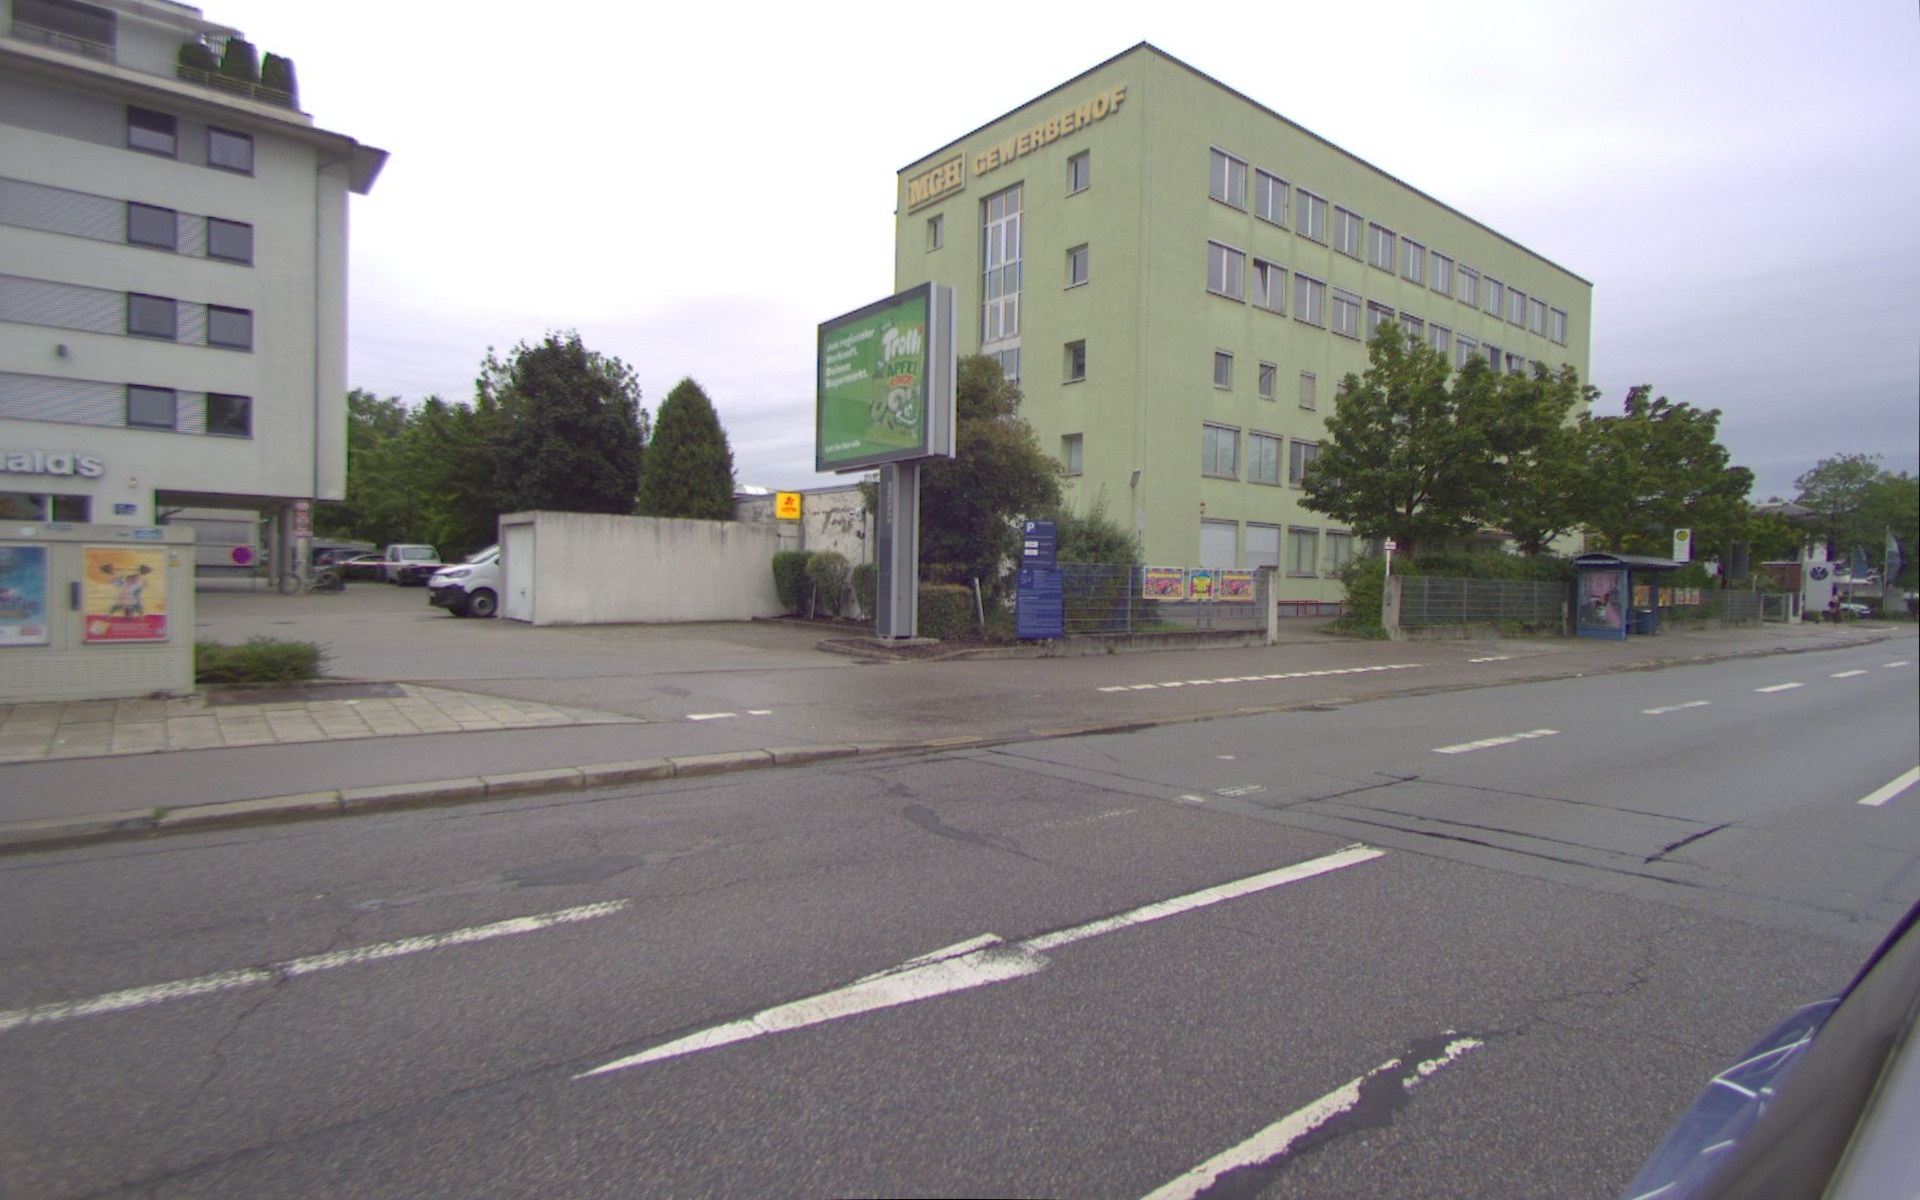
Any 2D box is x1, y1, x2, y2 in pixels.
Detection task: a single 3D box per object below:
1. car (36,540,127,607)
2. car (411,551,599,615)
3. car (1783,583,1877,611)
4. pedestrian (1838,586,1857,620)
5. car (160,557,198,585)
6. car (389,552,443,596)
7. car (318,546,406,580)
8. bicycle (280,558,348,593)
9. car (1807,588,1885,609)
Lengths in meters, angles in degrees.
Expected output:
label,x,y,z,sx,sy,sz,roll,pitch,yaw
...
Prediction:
label,x,y,z,sx,sy,sz,roll,pitch,yaw
car,-22.723,-0.693,26.280,1.676,1.607,3.995,0,2,-40
car,-11.251,-0.411,25.135,3.928,1.457,1.829,0,1,-39
car,59.839,-0.198,69.713,4.605,1.865,1.783,0,0,29
pedestrian,49.273,0.174,56.177,0.676,1.844,0.682,0,0,-40
car,-53.739,-1.958,69.625,1.964,1.838,3.996,0,1,-39
car,-25.458,-1.188,47.290,1.690,1.967,3.999,0,1,-36
car,-31.743,-1.933,53.773,3.924,1.731,1.656,0,0,-35
bicycle,-21.272,-0.799,33.359,0.448,1.130,1.847,0,0,42
car,66.170,-0.144,75.659,1.763,1.528,4.009,0,1,-17
